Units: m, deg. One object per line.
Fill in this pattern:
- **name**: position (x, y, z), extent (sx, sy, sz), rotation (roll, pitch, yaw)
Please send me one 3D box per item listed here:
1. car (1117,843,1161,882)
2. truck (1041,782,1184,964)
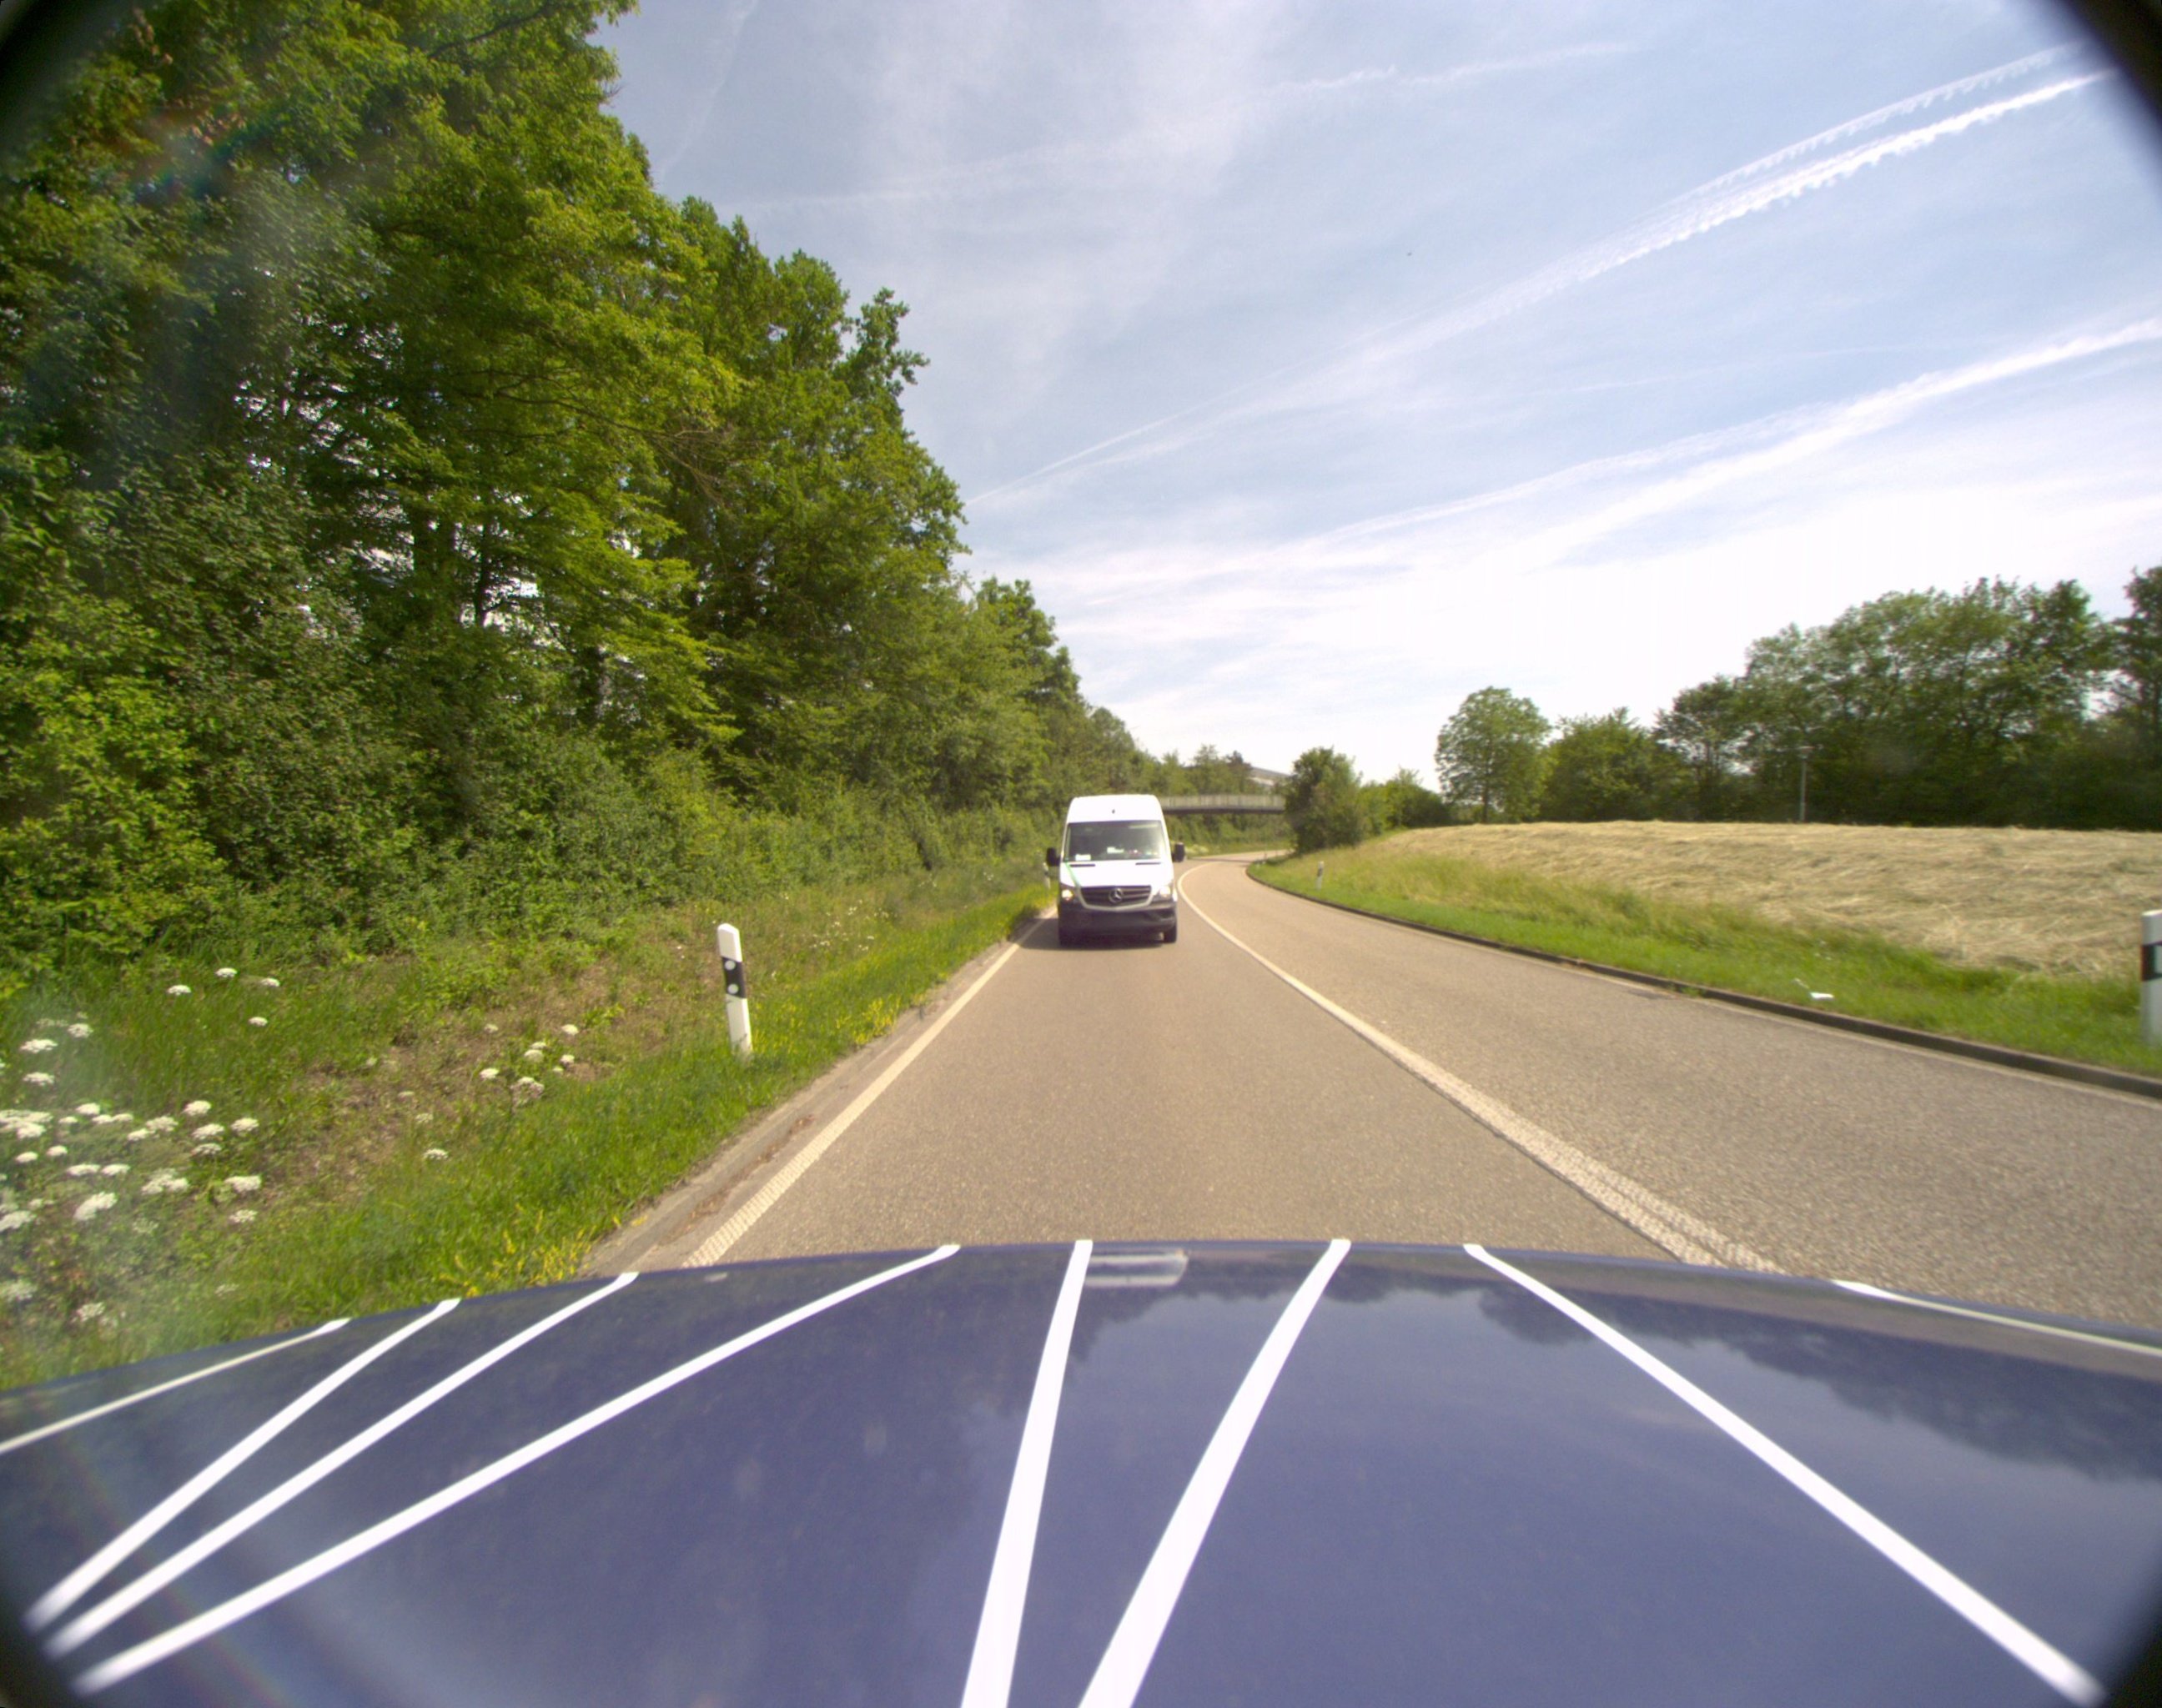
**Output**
- **car**: position (2.778, 0.346, 35.855), extent (1.848, 1.698, 4.090), rotation (0, 1, 7)
- **truck**: position (0.617, 0.239, 13.911), extent (1.998, 2.571, 5.888), rotation (-1, 1, 3)
